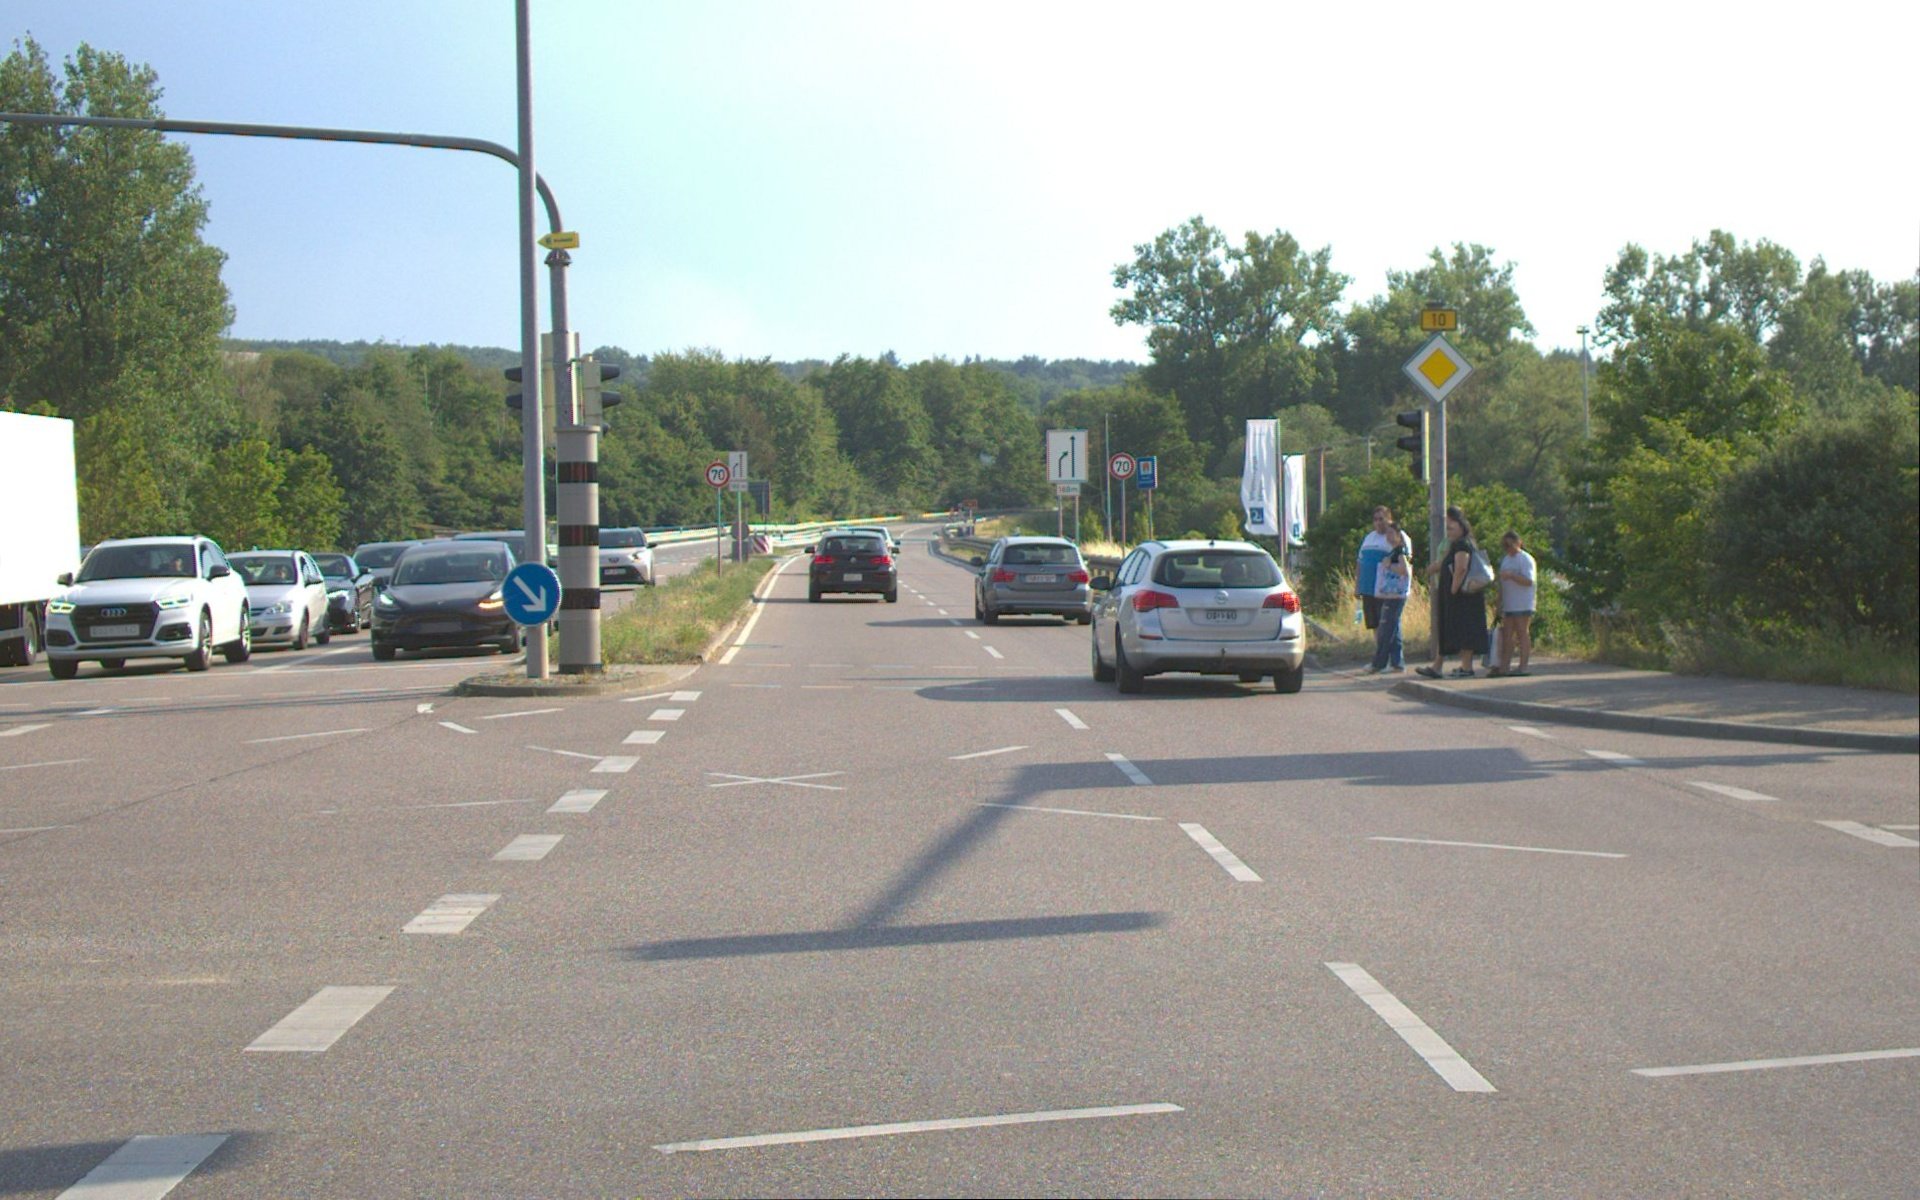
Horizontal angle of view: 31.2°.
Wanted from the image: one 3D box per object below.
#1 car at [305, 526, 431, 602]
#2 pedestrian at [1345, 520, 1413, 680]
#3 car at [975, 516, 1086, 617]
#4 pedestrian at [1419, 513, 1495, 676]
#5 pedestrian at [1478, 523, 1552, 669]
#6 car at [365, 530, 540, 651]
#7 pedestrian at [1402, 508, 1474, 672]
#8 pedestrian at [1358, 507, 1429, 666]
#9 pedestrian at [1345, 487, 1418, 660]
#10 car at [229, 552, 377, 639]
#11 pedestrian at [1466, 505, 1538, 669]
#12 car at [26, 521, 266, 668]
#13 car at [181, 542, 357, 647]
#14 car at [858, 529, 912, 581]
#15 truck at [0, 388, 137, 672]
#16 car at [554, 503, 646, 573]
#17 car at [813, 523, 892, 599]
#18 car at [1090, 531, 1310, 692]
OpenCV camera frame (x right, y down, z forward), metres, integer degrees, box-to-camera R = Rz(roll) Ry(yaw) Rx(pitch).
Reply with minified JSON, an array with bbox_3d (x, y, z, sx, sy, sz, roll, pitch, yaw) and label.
[{"bbox_3d":[-11.135,-0.672,64.887,1.780,1.349,4.000,1,0,-2],"label":"car"},{"bbox_3d":[4.433,-0.001,36.390,0.572,1.672,0.623,1,0,-6],"label":"pedestrian"},{"bbox_3d":[1.121,-0.544,56.357,1.667,1.568,4.000,1,0,0],"label":"car"},{"bbox_3d":[5.009,-0.054,34.673,0.572,1.609,0.623,-2,1,-6],"label":"pedestrian"},{"bbox_3d":[5.616,-0.040,34.814,0.572,1.452,0.623,1,0,-6],"label":"pedestrian"},{"bbox_3d":[-6.515,-0.137,44.532,1.790,1.461,4.930,-1,1,-3],"label":"car"},{"bbox_3d":[4.933,-0.106,35.484,0.572,1.672,0.623,1,0,-6],"label":"pedestrian"},{"bbox_3d":[4.701,-0.149,37.308,0.594,1.677,0.633,-3,0,-2],"label":"pedestrian"},{"bbox_3d":[4.665,-0.298,38.065,0.618,1.876,0.861,-2,0,-3],"label":"pedestrian"},{"bbox_3d":[-10.903,-0.108,57.312,1.702,1.279,4.819,-2,2,-2],"label":"car"},{"bbox_3d":[5.600,-0.135,35.530,0.572,1.672,0.623,1,0,-6],"label":"pedestrian"},{"bbox_3d":[-10.103,-0.087,43.018,1.993,1.672,4.807,-2,1,-2],"label":"car"},{"bbox_3d":[-10.016,-0.099,50.147,1.702,1.400,5.082,-2,1,-2],"label":"car"},{"bbox_3d":[-2.197,-1.324,101.309,1.492,1.471,3.359,1,0,0],"label":"car"},{"bbox_3d":[-13.872,-0.856,46.422,2.933,3.677,10.499,-3,0,-1],"label":"truck"},{"bbox_3d":[-8.332,-1.418,79.724,1.780,1.515,4.000,-2,0,-2],"label":"car"},{"bbox_3d":[-2.148,-0.787,69.507,1.492,1.471,3.359,1,0,0],"label":"car"},{"bbox_3d":[2.326,0.089,34.212,1.809,1.481,4.000,1,0,-1],"label":"car"}]
